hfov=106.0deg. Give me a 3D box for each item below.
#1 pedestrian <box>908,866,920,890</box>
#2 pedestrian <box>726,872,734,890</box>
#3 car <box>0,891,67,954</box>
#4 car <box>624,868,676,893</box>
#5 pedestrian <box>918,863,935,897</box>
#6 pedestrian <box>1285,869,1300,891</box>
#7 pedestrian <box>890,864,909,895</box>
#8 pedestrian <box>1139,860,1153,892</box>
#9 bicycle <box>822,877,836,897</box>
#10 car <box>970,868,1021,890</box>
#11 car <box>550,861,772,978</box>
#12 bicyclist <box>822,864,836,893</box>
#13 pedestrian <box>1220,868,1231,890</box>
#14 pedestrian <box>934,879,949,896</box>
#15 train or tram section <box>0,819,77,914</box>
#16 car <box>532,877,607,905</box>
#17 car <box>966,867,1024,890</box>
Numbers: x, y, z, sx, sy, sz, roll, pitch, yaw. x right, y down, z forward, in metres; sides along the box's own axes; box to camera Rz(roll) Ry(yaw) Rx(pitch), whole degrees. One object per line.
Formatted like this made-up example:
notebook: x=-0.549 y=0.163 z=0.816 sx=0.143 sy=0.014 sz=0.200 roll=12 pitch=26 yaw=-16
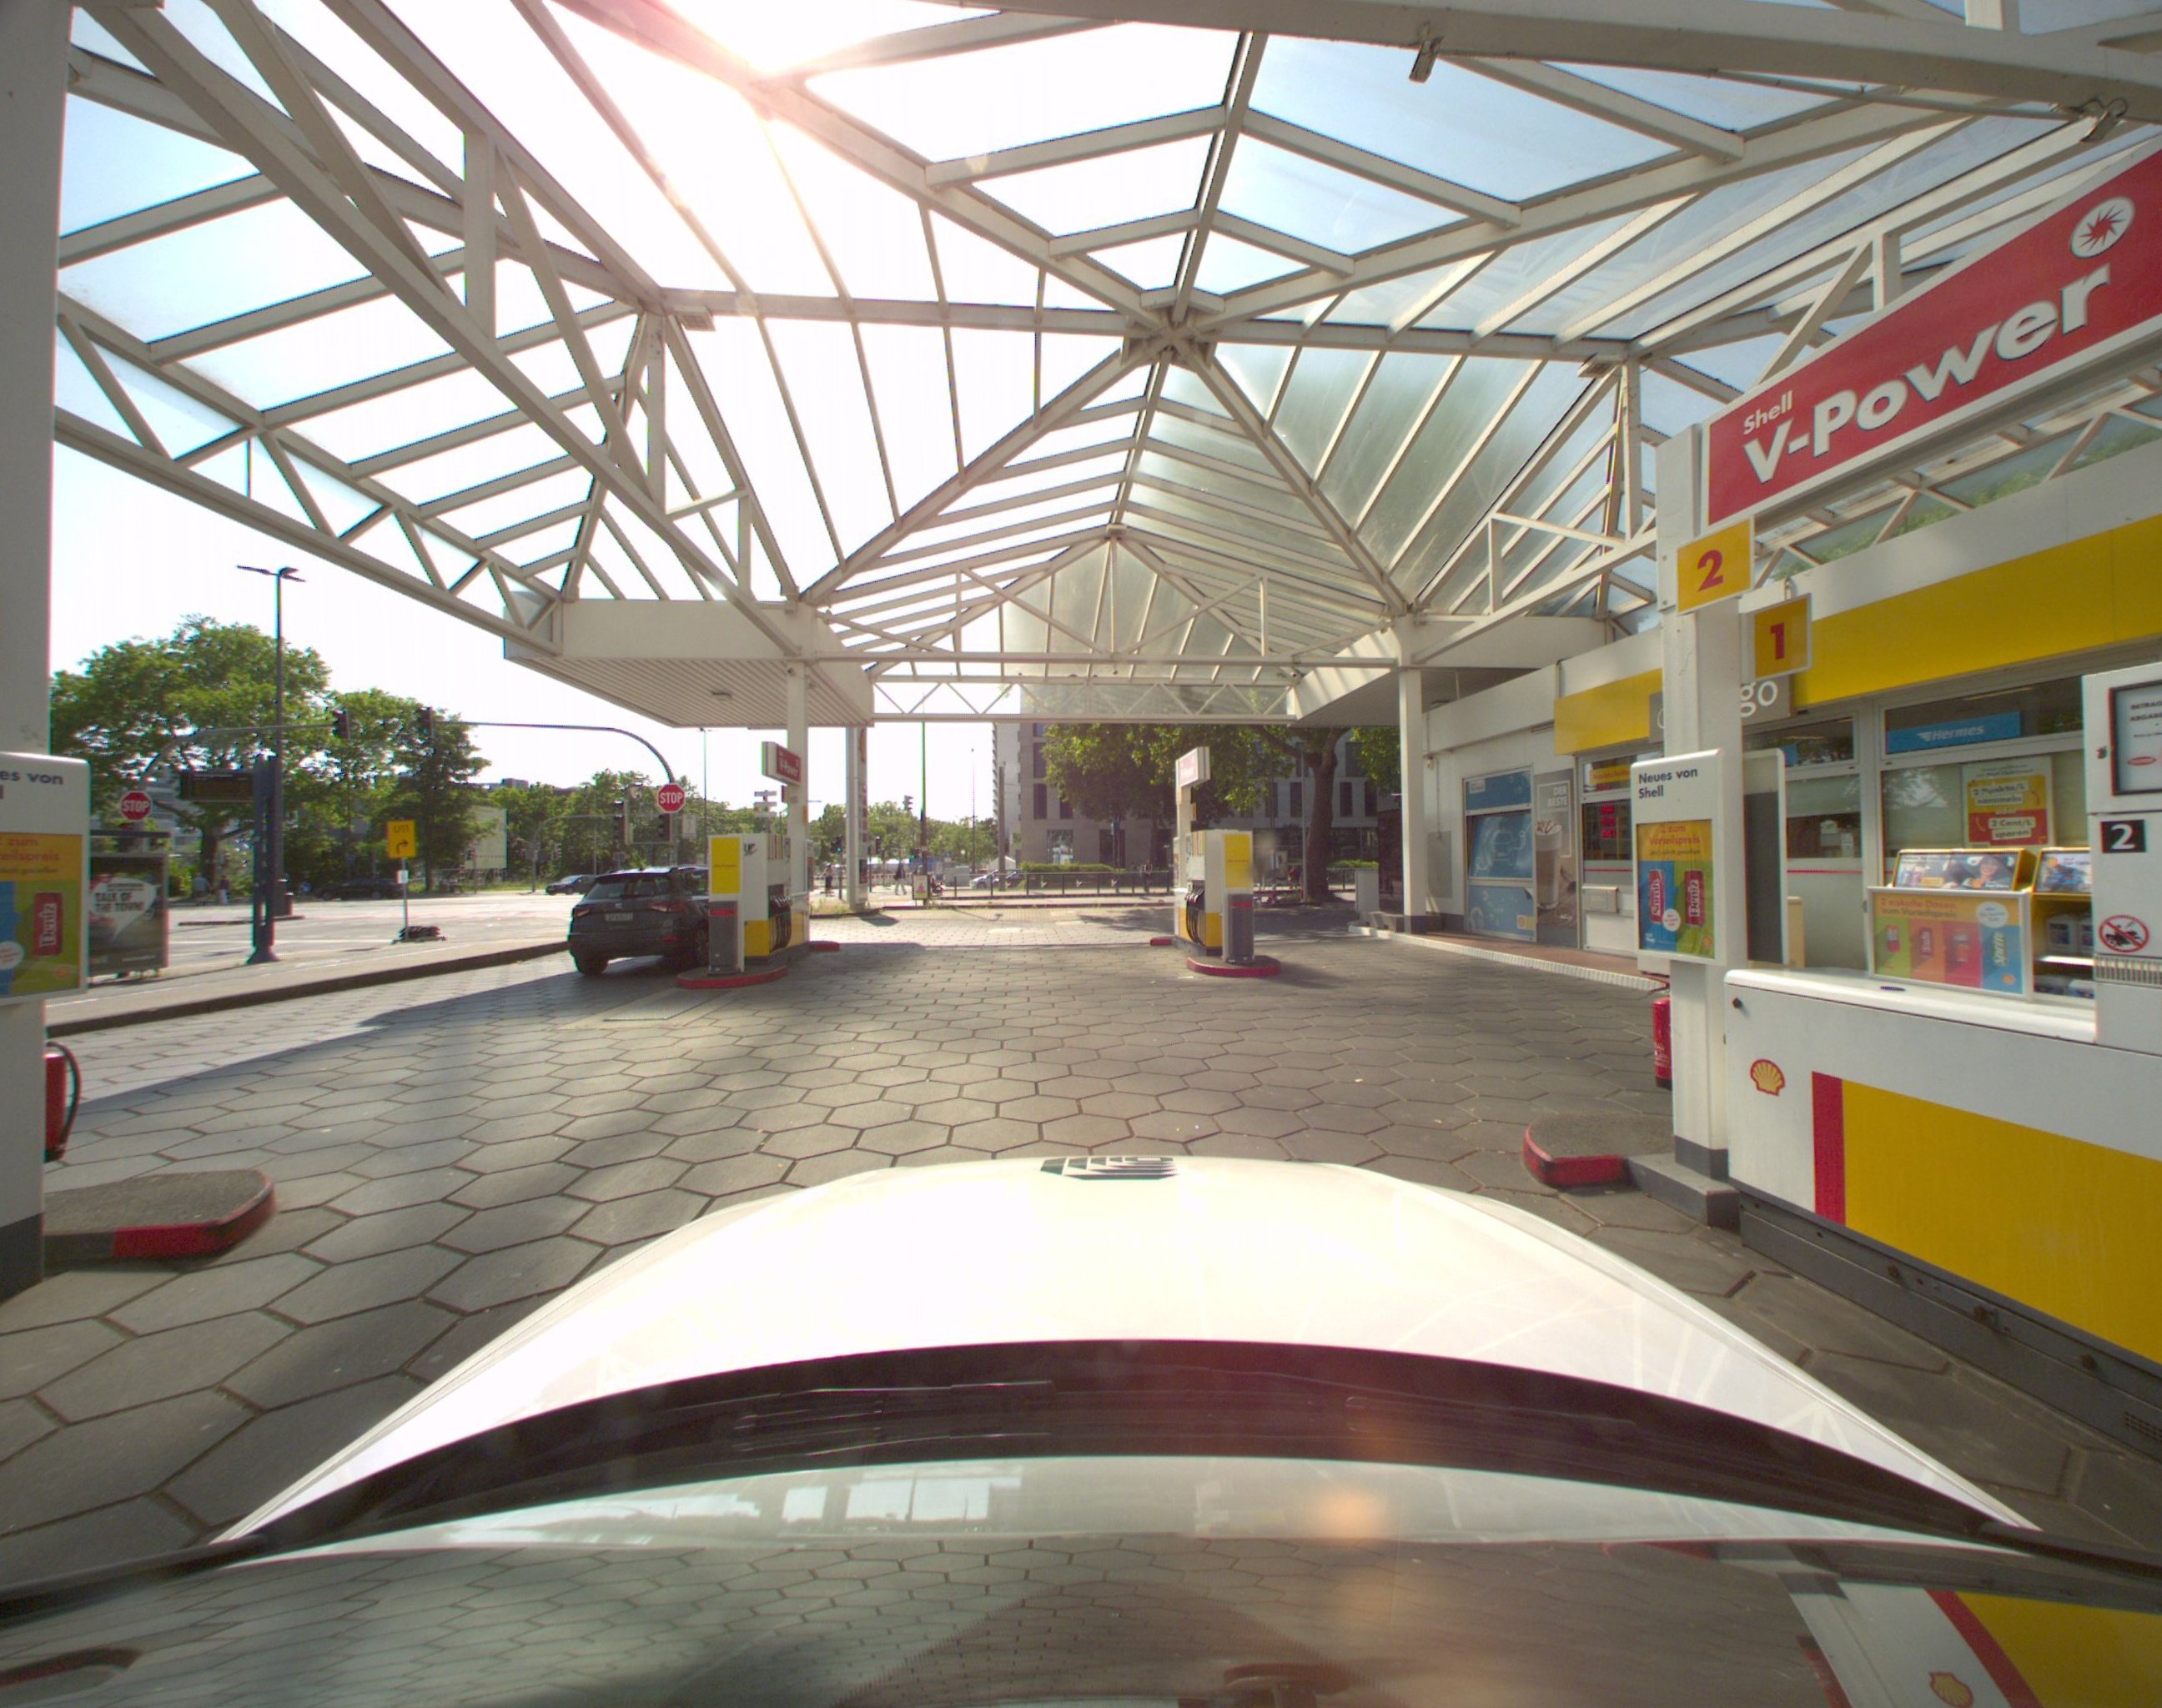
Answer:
pedestrian: x=-10.717 y=1.542 z=52.359 sx=0.647 sy=1.540 sz=0.503 roll=-1 pitch=-1 yaw=4
pedestrian: x=-28.895 y=2.185 z=67.027 sx=0.566 sy=1.469 sz=0.509 roll=0 pitch=-1 yaw=-25
car: x=-24.901 y=1.524 z=17.365 sx=1.677 sy=1.367 sz=3.995 roll=1 pitch=-1 yaw=-5
car: x=-37.255 y=2.302 z=70.526 sx=1.987 sy=2.014 sz=4.446 roll=-3 pitch=-1 yaw=0
pedestrian: x=-7.898 y=1.323 z=41.685 sx=0.779 sy=1.683 sz=0.499 roll=0 pitch=-1 yaw=-21
pedestrian: x=11.091 y=1.341 z=42.709 sx=0.626 sy=1.138 sz=0.524 roll=-1 pitch=-1 yaw=1
pedestrian: x=-10.073 y=1.412 z=45.214 sx=0.927 sy=1.683 sz=0.504 roll=-1 pitch=-1 yaw=8
pedestrian: x=3.339 y=1.103 z=41.693 sx=0.583 sy=1.591 sz=0.669 roll=-1 pitch=0 yaw=-5
bicycle: x=-14.282 y=1.836 z=46.169 sx=0.638 sy=1.082 sz=2.016 roll=0 pitch=-1 yaw=-14
car: x=-6.379 y=1.824 z=60.613 sx=3.682 sy=1.552 sz=1.586 roll=-1 pitch=-1 yaw=-11
car: x=-6.477 y=0.934 z=13.101 sx=1.741 sy=1.532 sz=3.992 roll=-2 pitch=-1 yaw=-5
bicyclist: x=-14.269 y=1.380 z=46.089 sx=0.638 sy=1.580 sz=1.168 roll=0 pitch=-1 yaw=-13
pedestrian: x=7.494 y=1.315 z=42.302 sx=0.497 sy=1.138 sz=0.524 roll=-1 pitch=-1 yaw=1
pedestrian: x=-7.204 y=1.715 z=41.954 sx=0.693 sy=0.880 sz=0.499 roll=0 pitch=-1 yaw=-20
train or tram section: x=-58.010 y=0.717 z=39.195 sx=14.874 sy=4.490 sz=2.323 roll=-1 pitch=-2 yaw=-6
car: x=-37.958 y=2.749 z=60.565 sx=1.975 sy=1.805 sz=4.236 roll=-3 pitch=-1 yaw=26
car: x=-6.035 y=1.714 z=57.054 sx=3.988 sy=1.552 sz=1.697 roll=-1 pitch=-1 yaw=-11
